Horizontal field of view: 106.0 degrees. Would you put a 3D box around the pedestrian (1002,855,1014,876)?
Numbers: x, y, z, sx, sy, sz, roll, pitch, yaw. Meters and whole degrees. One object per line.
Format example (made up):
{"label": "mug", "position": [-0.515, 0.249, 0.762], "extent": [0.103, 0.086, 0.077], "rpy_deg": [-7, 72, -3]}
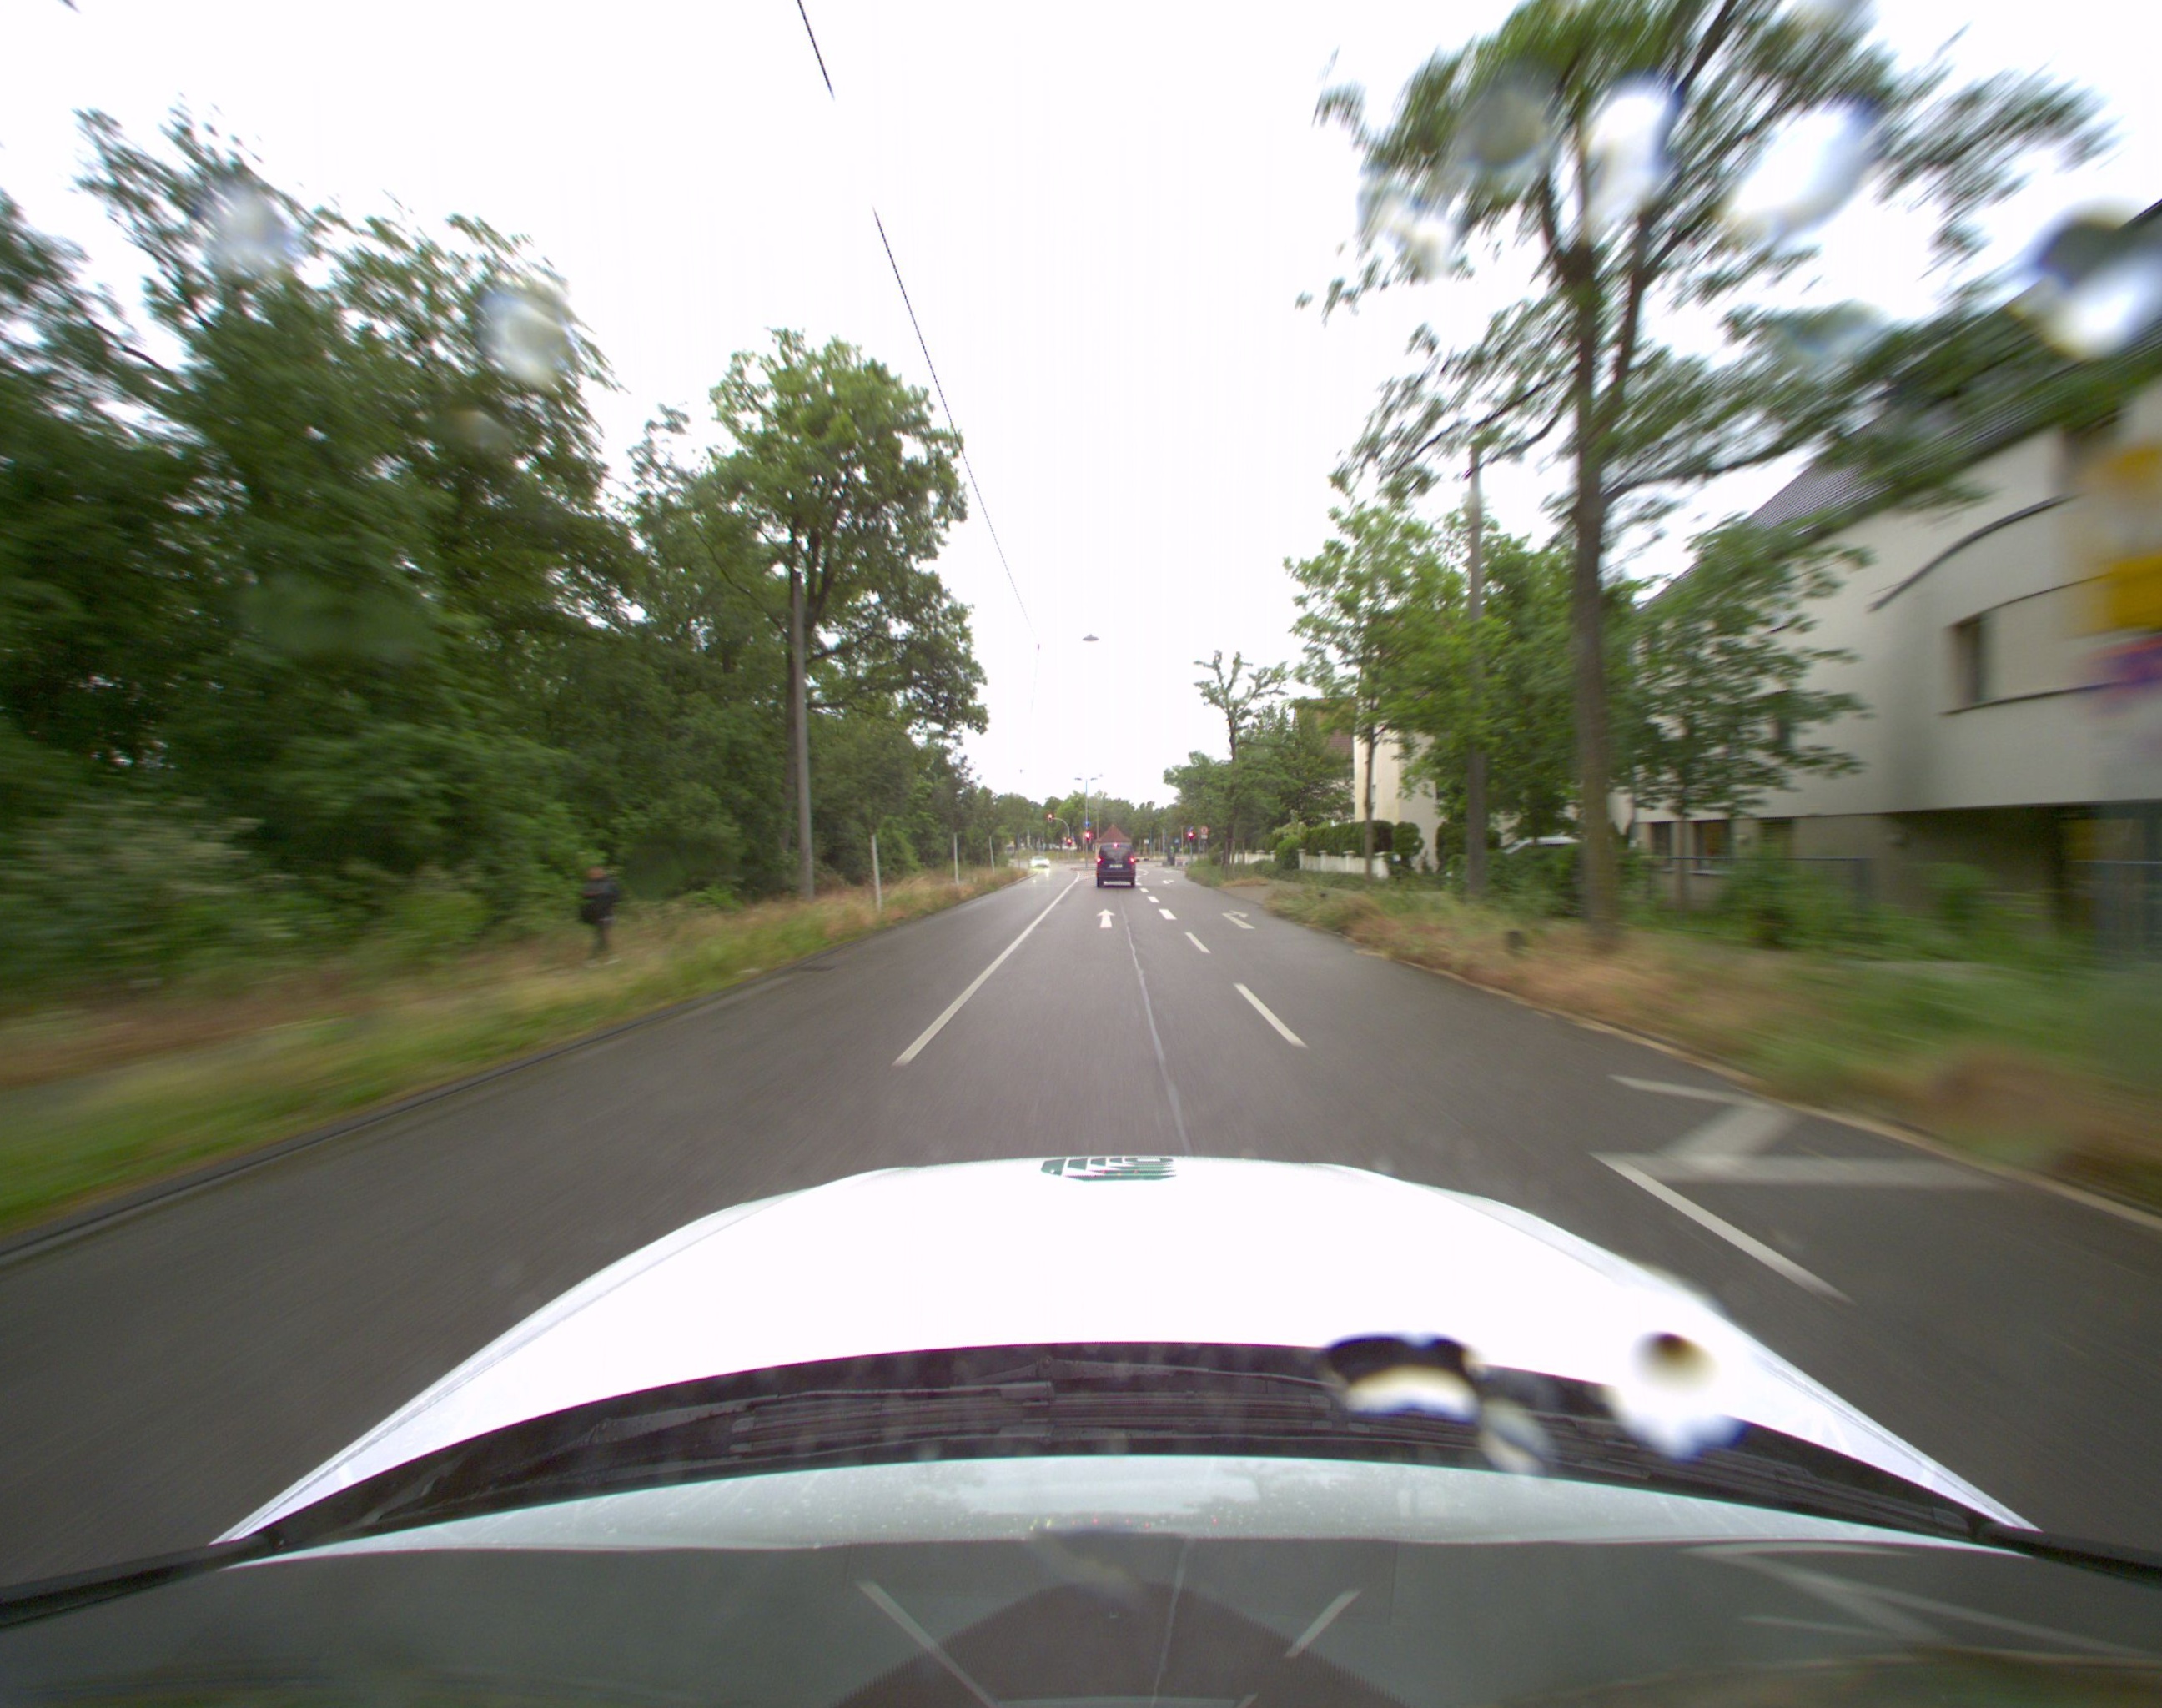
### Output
{"label": "pedestrian", "position": [-7.237, 1.159, 80.452], "extent": [1.085, 2.014, 0.999], "rpy_deg": [0, -1, -2]}

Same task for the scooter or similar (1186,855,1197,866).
{"label": "scooter or similar", "position": [11.933, 0.717, 88.189], "extent": [1.144, 1.219, 0.406], "rpy_deg": [-1, -2, 2]}

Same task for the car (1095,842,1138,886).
{"label": "car", "position": [1.497, 0.422, 35.183], "extent": [1.725, 1.786, 4.001], "rpy_deg": [0, 0, 1]}

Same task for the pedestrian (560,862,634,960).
{"label": "pedestrian", "position": [-8.201, 0.944, 13.820], "extent": [0.778, 1.608, 0.732], "rpy_deg": [-1, 0, 0]}

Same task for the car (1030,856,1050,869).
{"label": "car", "position": [-4.701, 0.959, 92.856], "extent": [1.992, 1.311, 4.349], "rpy_deg": [-3, 0, -7]}

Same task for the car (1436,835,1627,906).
{"label": "car", "position": [12.278, 0.421, 22.466], "extent": [4.275, 1.817, 1.880], "rpy_deg": [0, 0, 12]}
